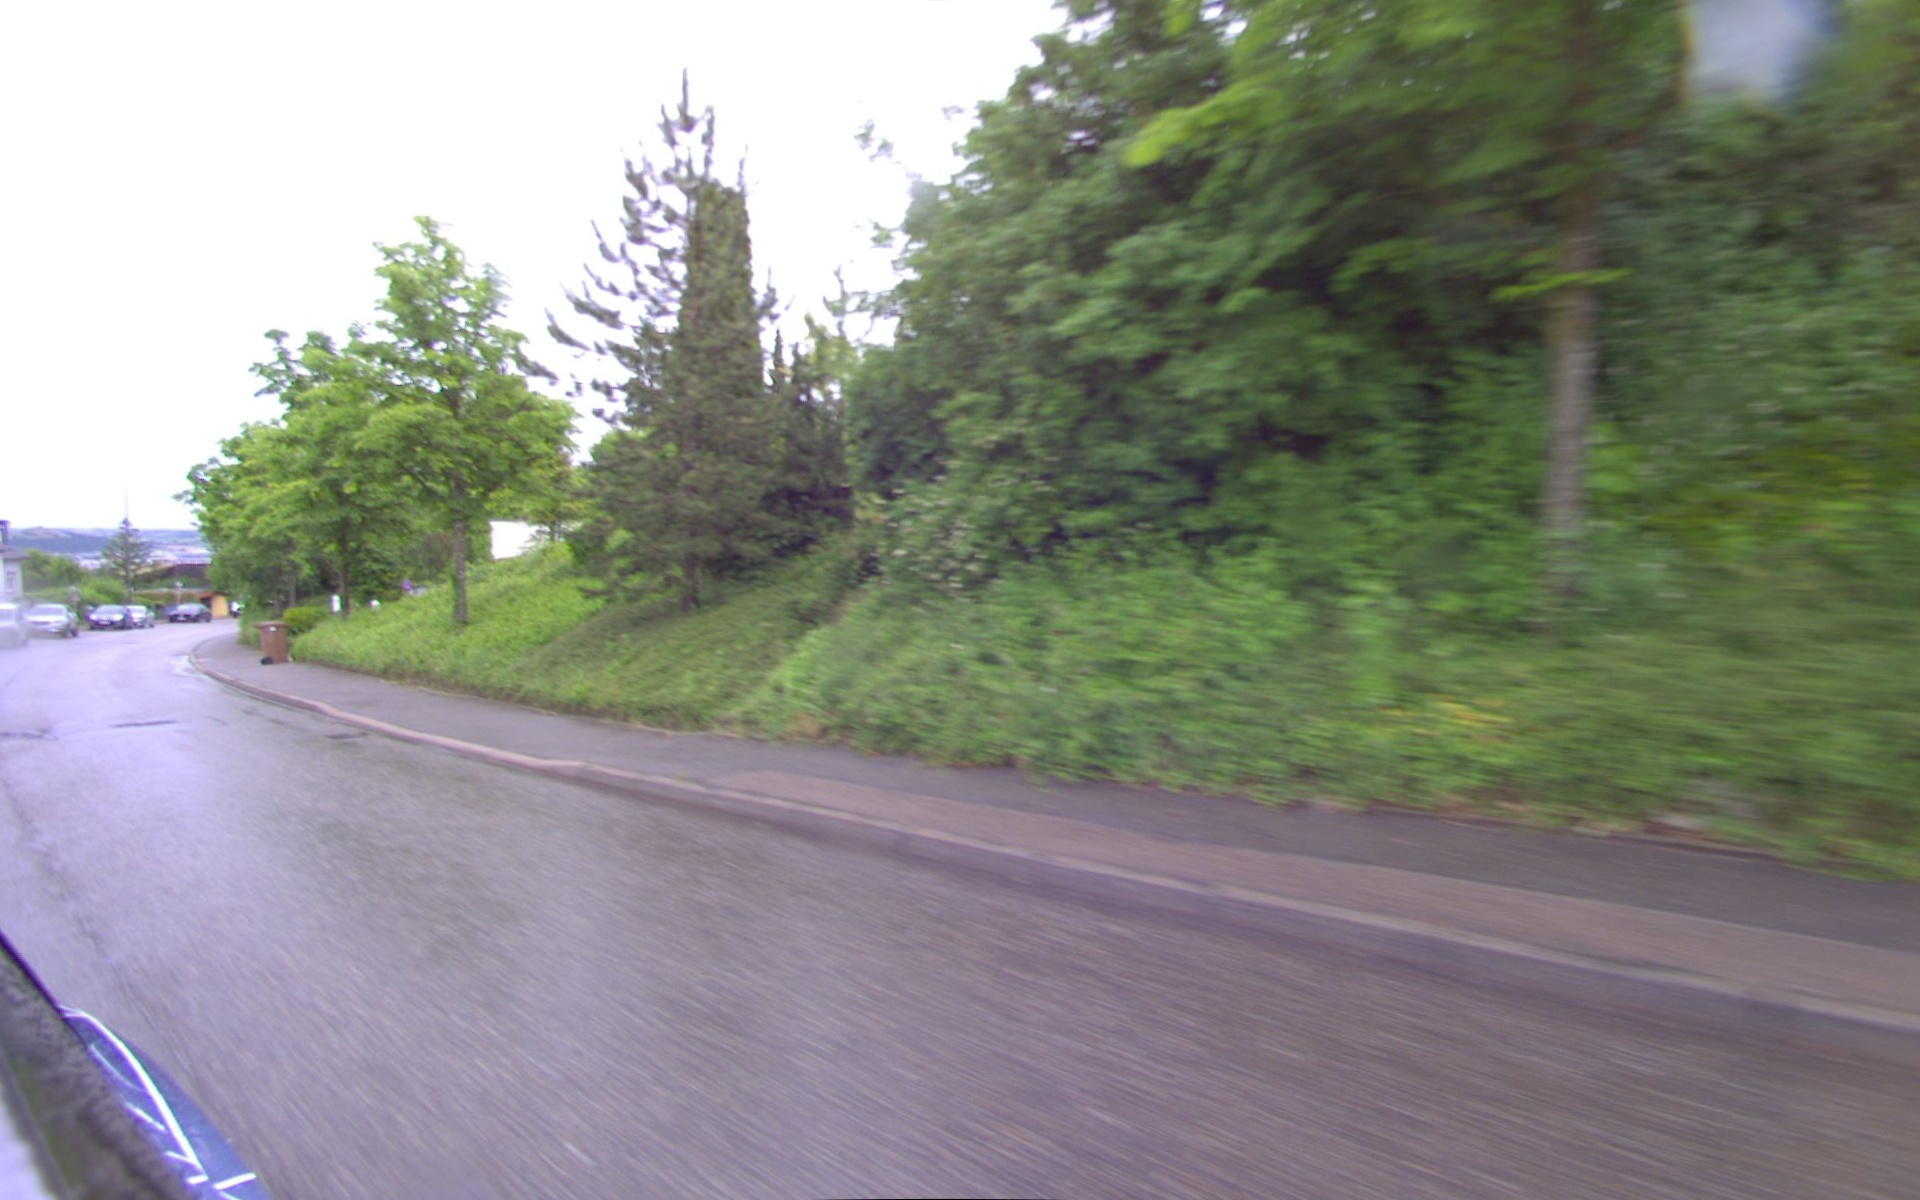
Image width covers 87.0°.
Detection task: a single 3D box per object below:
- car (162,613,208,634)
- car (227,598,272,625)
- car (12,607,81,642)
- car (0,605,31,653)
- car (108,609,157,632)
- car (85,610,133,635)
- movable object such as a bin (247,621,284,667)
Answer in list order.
[{"bbox_3d":[-62.510,1.875,81.698,1.831,1.538,5.080,2,-1,-25],"label":"car"},{"bbox_3d":[-69.786,1.085,99.517,2.043,2.569,6.201,1,0,-20],"label":"car"},{"bbox_3d":[-45.752,1.216,50.768,1.779,1.639,4.300,2,-1,-32],"label":"car"},{"bbox_3d":[-37.992,1.108,39.780,1.756,1.817,4.717,0,0,-38],"label":"car"},{"bbox_3d":[-55.726,1.350,68.229,1.744,1.478,4.248,2,-1,-29],"label":"car"},{"bbox_3d":[-53.415,1.379,63.557,1.636,1.478,3.775,2,-1,-30],"label":"car"},{"bbox_3d":[-17.614,1.115,25.659,0.685,1.099,0.805,-3,-2,-37],"label":"movable object such as a bin"}]
